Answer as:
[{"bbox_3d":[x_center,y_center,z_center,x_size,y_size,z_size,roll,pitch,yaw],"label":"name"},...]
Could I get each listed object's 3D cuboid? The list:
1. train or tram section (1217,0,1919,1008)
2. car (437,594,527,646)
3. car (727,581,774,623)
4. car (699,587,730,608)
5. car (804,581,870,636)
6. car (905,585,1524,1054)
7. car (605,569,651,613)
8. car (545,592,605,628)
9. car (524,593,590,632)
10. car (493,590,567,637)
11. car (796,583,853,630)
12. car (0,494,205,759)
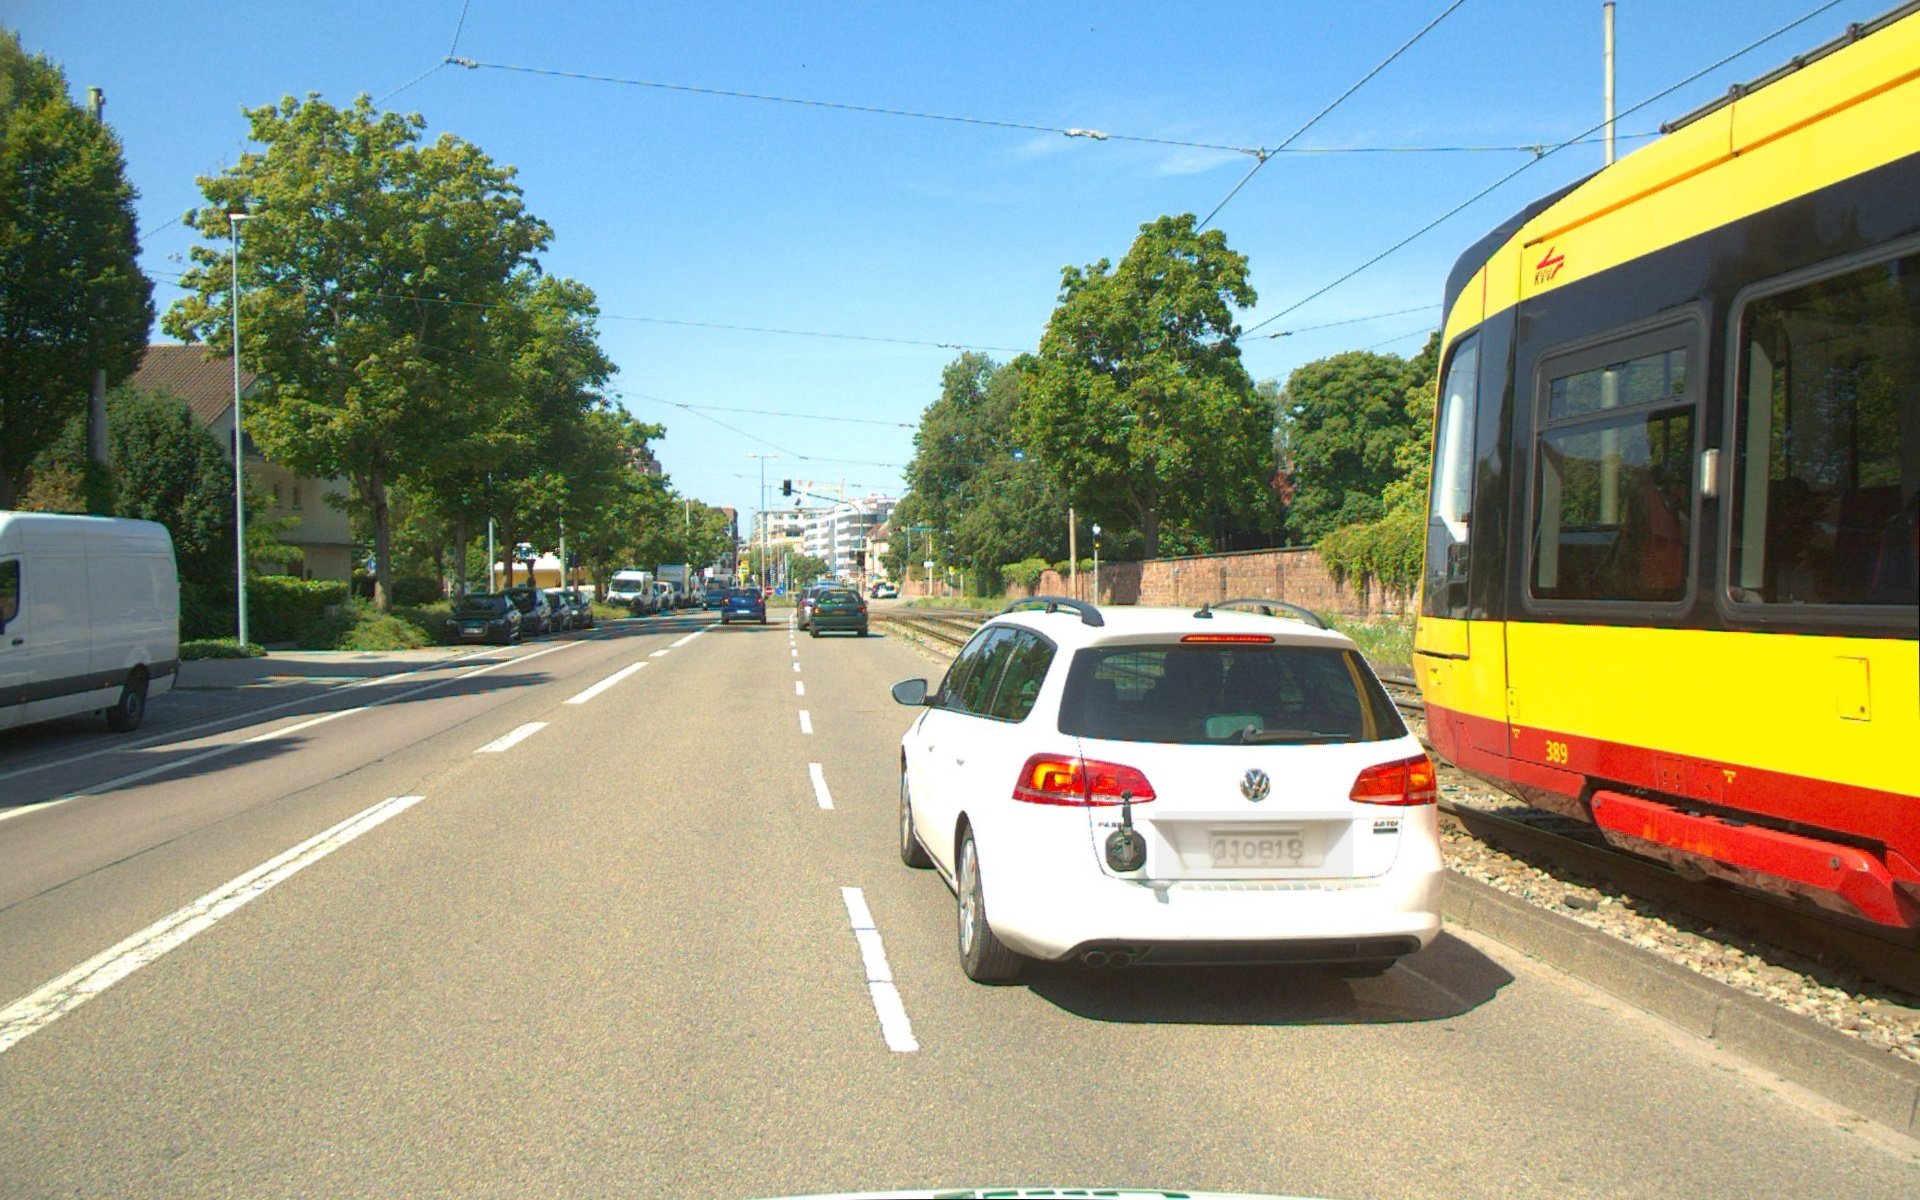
[{"bbox_3d":[4.209,-0.571,7.645,2.463,3.812,13.291,-1,1,-7],"label":"train or tram section"},{"bbox_3d":[-14.318,0.567,49.730,1.666,1.441,3.998,-1,1,-3],"label":"car"},{"bbox_3d":[-8.170,0.050,64.555,1.766,1.533,3.995,0,2,-7],"label":"car"},{"bbox_3d":[-15.909,-0.174,107.269,1.666,1.295,3.997,-1,1,-4],"label":"car"},{"bbox_3d":[-3.655,0.225,48.722,1.766,1.533,3.994,0,1,-7],"label":"car"},{"bbox_3d":[0.788,0.688,7.657,1.659,1.476,4.451,-1,1,-7],"label":"car"},{"bbox_3d":[-19.314,-0.532,96.376,1.842,2.458,5.113,-1,1,-3],"label":"car"},{"bbox_3d":[-15.735,0.397,67.691,1.666,1.375,3.998,-1,1,-3],"label":"car"},{"bbox_3d":[-15.177,0.438,62.401,1.666,1.375,3.998,-1,1,-3],"label":"car"},{"bbox_3d":[-14.800,0.428,57.104,1.666,1.507,3.998,-1,1,-3],"label":"car"},{"bbox_3d":[-4.587,0.193,55.738,1.766,1.485,3.994,0,1,-7],"label":"car"},{"bbox_3d":[-11.124,0.238,19.173,1.956,2.761,7.149,2,0,-5],"label":"car"}]
